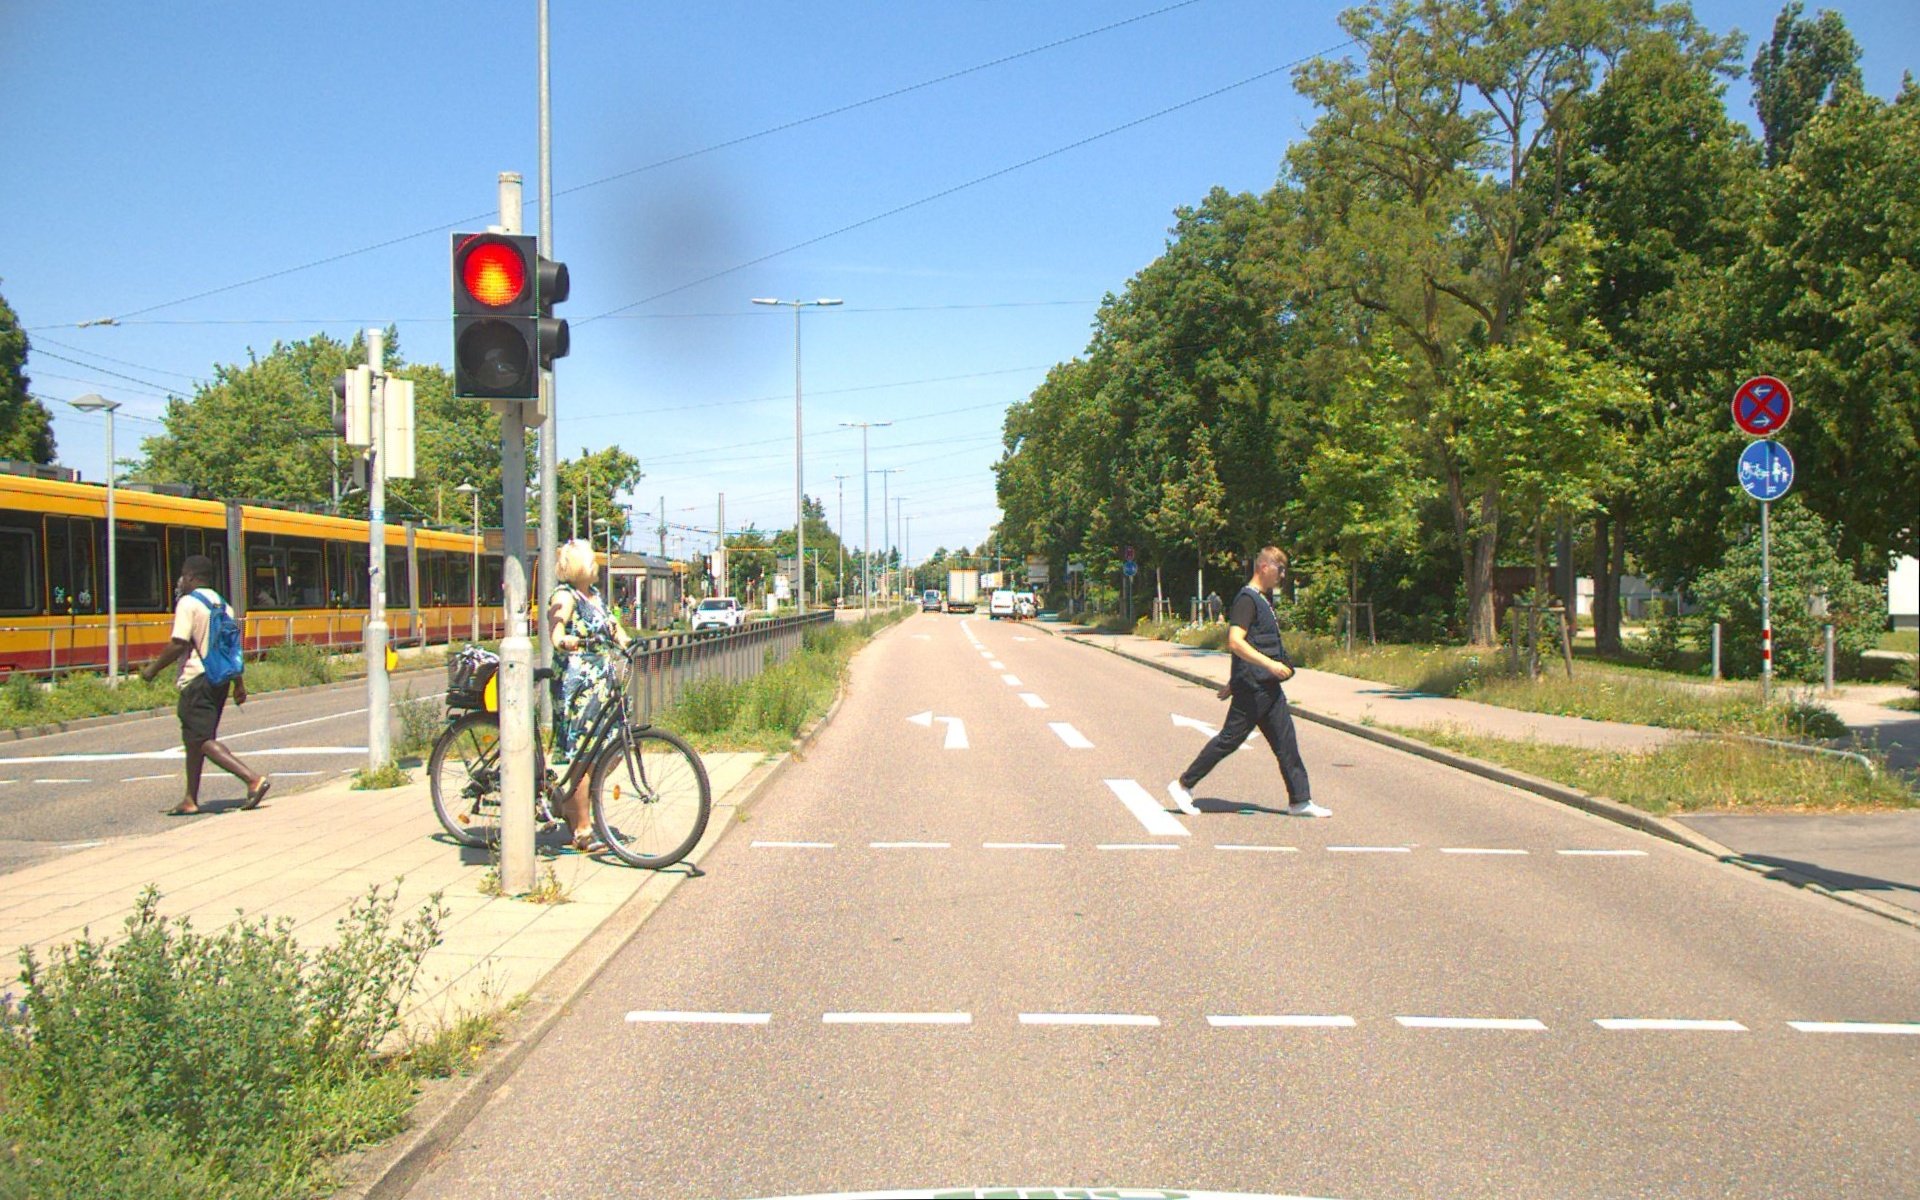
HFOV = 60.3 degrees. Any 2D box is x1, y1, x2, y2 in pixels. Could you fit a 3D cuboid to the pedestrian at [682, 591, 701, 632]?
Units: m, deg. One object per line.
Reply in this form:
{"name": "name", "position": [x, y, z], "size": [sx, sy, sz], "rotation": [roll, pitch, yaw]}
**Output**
{"name": "pedestrian", "position": [-13.741, 0.588, 84.732], "size": [0.798, 2.049, 0.938], "rotation": [0, 0, -1]}

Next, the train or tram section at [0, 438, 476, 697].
{"name": "train or tram section", "position": [-15.701, -0.513, 34.336], "size": [2.897, 3.815, 30.027], "rotation": [0, 0, -1]}

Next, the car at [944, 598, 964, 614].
{"name": "car", "position": [-0.587, 0.551, 153.602], "size": [1.774, 1.490, 3.999], "rotation": [0, 0, -1]}

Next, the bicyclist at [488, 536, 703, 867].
{"name": "bicyclist", "position": [-1.985, 0.519, 9.040], "size": [0.937, 1.695, 0.581], "rotation": [3, 2, 17]}

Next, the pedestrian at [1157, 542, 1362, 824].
{"name": "pedestrian", "position": [2.049, 0.541, 11.287], "size": [1.162, 1.809, 0.838], "rotation": [0, -2, 30]}

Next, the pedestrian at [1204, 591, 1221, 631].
{"name": "pedestrian", "position": [9.269, 0.392, 60.759], "size": [0.591, 1.463, 0.556], "rotation": [0, 0, 6]}

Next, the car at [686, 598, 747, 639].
{"name": "car", "position": [-9.306, 0.696, 63.442], "size": [1.807, 1.521, 3.790], "rotation": [0, 0, -1]}

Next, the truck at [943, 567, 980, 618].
{"name": "truck", "position": [0.074, -0.652, 146.124], "size": [3.140, 4.435, 6.559], "rotation": [0, 0, -1]}

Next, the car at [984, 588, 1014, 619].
{"name": "car", "position": [2.465, 0.213, 105.651], "size": [1.743, 1.937, 3.999], "rotation": [0, 0, -1]}

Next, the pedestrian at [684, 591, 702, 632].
{"name": "pedestrian", "position": [-13.464, 0.587, 83.442], "size": [0.798, 2.049, 0.938], "rotation": [0, 0, -1]}

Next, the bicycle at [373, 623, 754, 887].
{"name": "bicycle", "position": [-2.095, 0.774, 8.725], "size": [1.916, 1.181, 0.541], "rotation": [3, 2, 17]}

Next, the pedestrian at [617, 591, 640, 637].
{"name": "pedestrian", "position": [-13.848, 0.591, 69.084], "size": [0.769, 1.901, 0.817], "rotation": [0, 0, -1]}

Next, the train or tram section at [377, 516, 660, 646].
{"name": "train or tram section", "position": [-16.156, -0.621, 65.802], "size": [2.871, 3.856, 33.081], "rotation": [0, 0, -1]}

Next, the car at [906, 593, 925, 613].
{"name": "car", "position": [-4.693, 0.320, 175.092], "size": [1.953, 2.049, 3.999], "rotation": [0, 0, -1]}

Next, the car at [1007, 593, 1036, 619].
{"name": "car", "position": [4.184, 0.390, 112.505], "size": [1.743, 1.698, 3.999], "rotation": [0, 0, -1]}

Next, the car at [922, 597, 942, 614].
{"name": "car", "position": [-2.554, 0.481, 151.844], "size": [1.774, 1.490, 3.999], "rotation": [0, 0, -1]}

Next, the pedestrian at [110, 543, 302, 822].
{"name": "pedestrian", "position": [-5.236, 0.549, 11.537], "size": [0.823, 1.808, 0.720], "rotation": [-5, 2, -1]}

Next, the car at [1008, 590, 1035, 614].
{"name": "car", "position": [4.409, 0.110, 118.856], "size": [1.743, 1.698, 3.999], "rotation": [0, 0, -1]}

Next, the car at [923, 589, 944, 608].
{"name": "car", "position": [-2.605, -0.136, 163.418], "size": [1.953, 1.847, 3.999], "rotation": [1, 0, -1]}
